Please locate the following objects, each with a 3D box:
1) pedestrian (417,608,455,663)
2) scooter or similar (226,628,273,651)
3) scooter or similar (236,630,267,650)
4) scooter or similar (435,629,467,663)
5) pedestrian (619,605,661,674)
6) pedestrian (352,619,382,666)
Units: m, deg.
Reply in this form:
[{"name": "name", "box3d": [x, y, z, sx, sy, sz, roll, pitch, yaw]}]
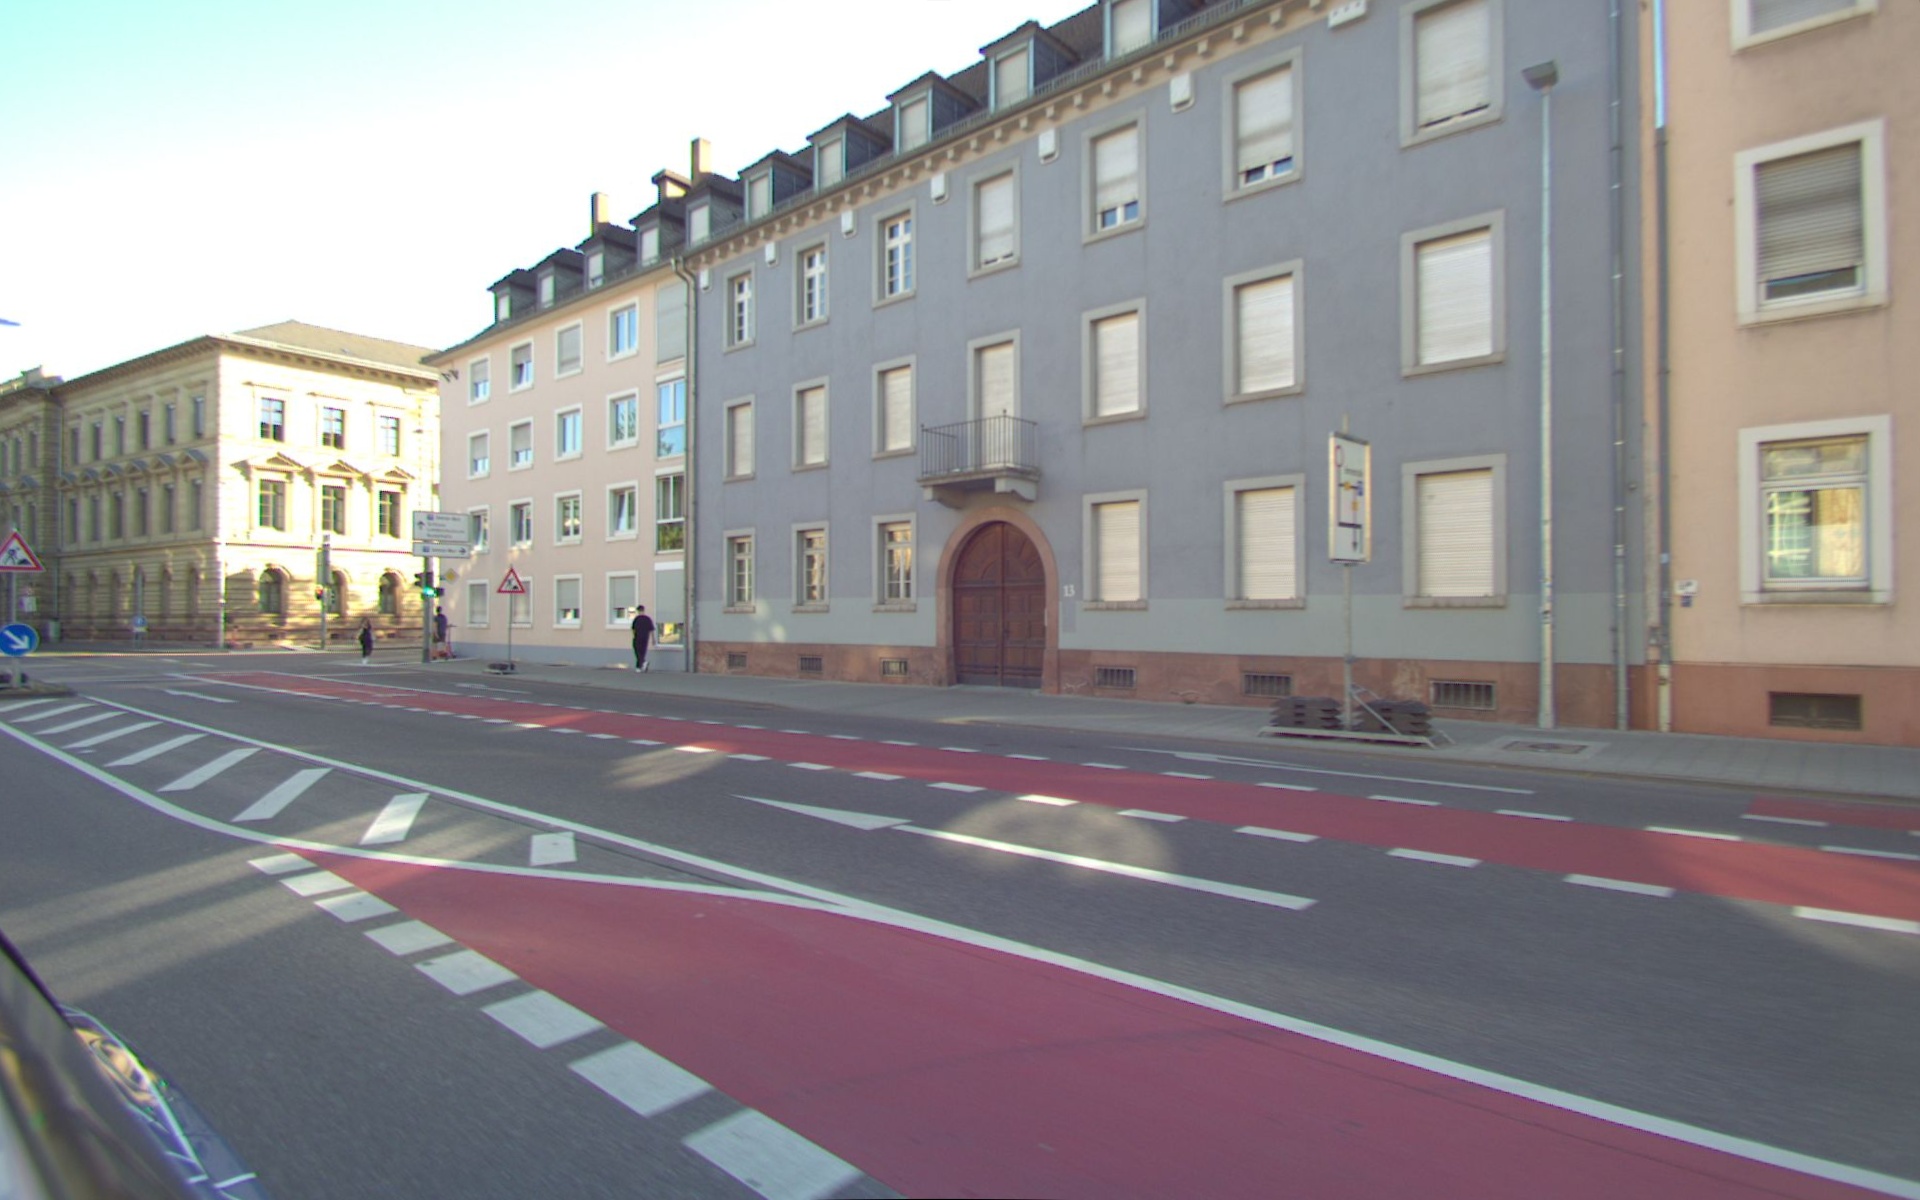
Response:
[{"name": "pedestrian", "box3d": [-18.473, 1.248, 35.677, 1.014, 1.877, 0.858, -2, 0, 42]}, {"name": "scooter or similar", "box3d": [-37.639, 2.099, 53.636, 1.998, 1.197, 0.457, 1, -2, -29]}, {"name": "scooter or similar", "box3d": [-38.146, 2.172, 54.521, 0.392, 1.060, 1.315, -1, -2, 36]}, {"name": "scooter or similar", "box3d": [-18.493, 1.652, 36.730, 1.473, 1.194, 0.528, -2, -1, 42]}, {"name": "pedestrian", "box3d": [-8.861, 1.089, 28.024, 1.012, 1.860, 0.625, -1, 1, 40]}, {"name": "pedestrian", "box3d": [-20.684, 1.462, 35.288, 0.817, 1.595, 0.625, -1, 1, 40]}]
